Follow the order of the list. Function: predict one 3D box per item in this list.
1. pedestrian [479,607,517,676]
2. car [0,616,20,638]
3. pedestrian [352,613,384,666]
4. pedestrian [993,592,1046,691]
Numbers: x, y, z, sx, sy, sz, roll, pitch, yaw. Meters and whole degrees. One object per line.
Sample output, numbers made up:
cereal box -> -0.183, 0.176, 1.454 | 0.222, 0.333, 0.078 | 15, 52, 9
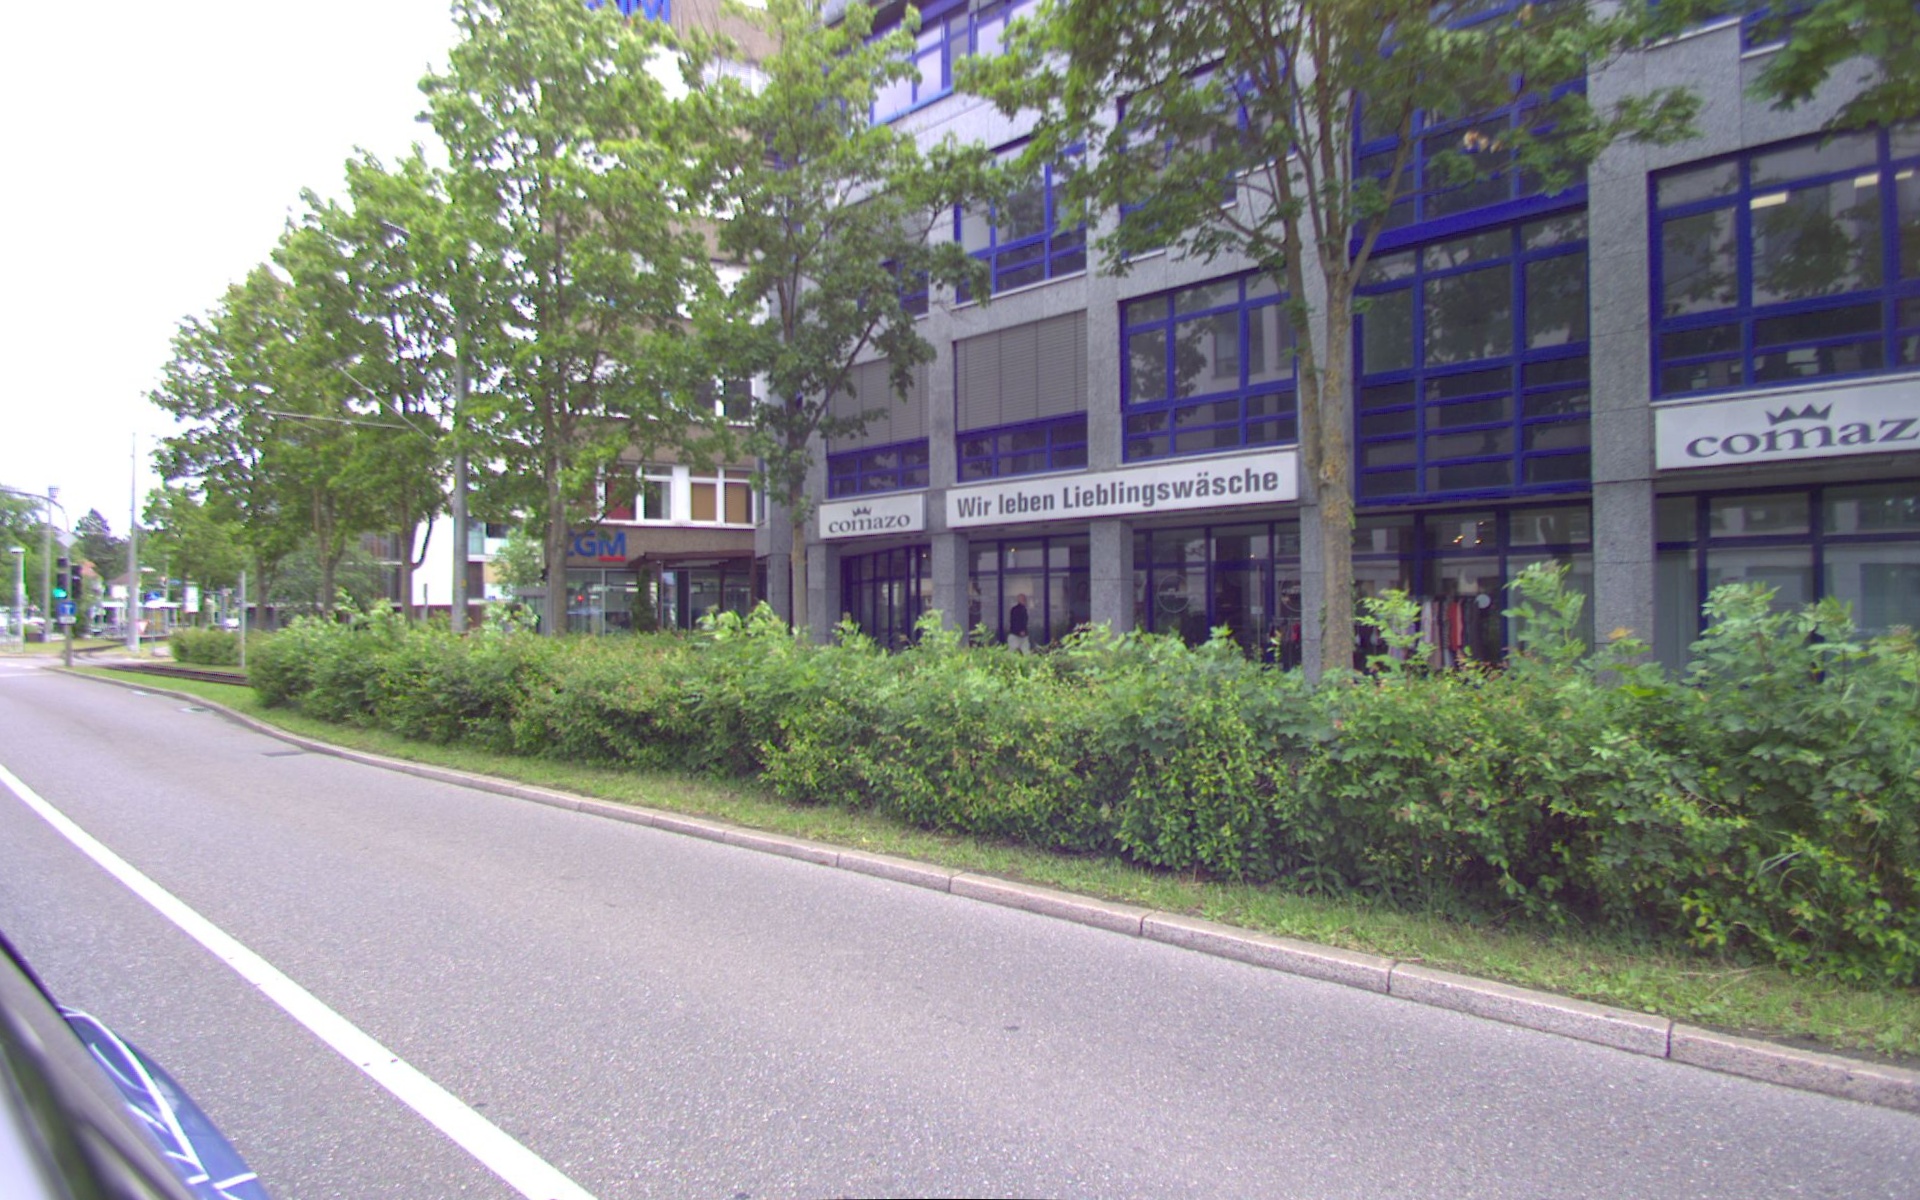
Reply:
pedestrian -> -12.437, 1.107, 27.258 | 0.730, 1.819, 0.672 | -1, 0, 37
car -> -89.808, 2.492, 94.422 | 1.965, 2.029, 4.013 | 0, 0, -25
pedestrian -> -21.793, 1.436, 37.260 | 0.731, 1.938, 0.805 | -1, 0, 40
pedestrian -> 1.191, 0.805, 20.138 | 0.731, 1.908, 0.766 | -1, 0, 40
